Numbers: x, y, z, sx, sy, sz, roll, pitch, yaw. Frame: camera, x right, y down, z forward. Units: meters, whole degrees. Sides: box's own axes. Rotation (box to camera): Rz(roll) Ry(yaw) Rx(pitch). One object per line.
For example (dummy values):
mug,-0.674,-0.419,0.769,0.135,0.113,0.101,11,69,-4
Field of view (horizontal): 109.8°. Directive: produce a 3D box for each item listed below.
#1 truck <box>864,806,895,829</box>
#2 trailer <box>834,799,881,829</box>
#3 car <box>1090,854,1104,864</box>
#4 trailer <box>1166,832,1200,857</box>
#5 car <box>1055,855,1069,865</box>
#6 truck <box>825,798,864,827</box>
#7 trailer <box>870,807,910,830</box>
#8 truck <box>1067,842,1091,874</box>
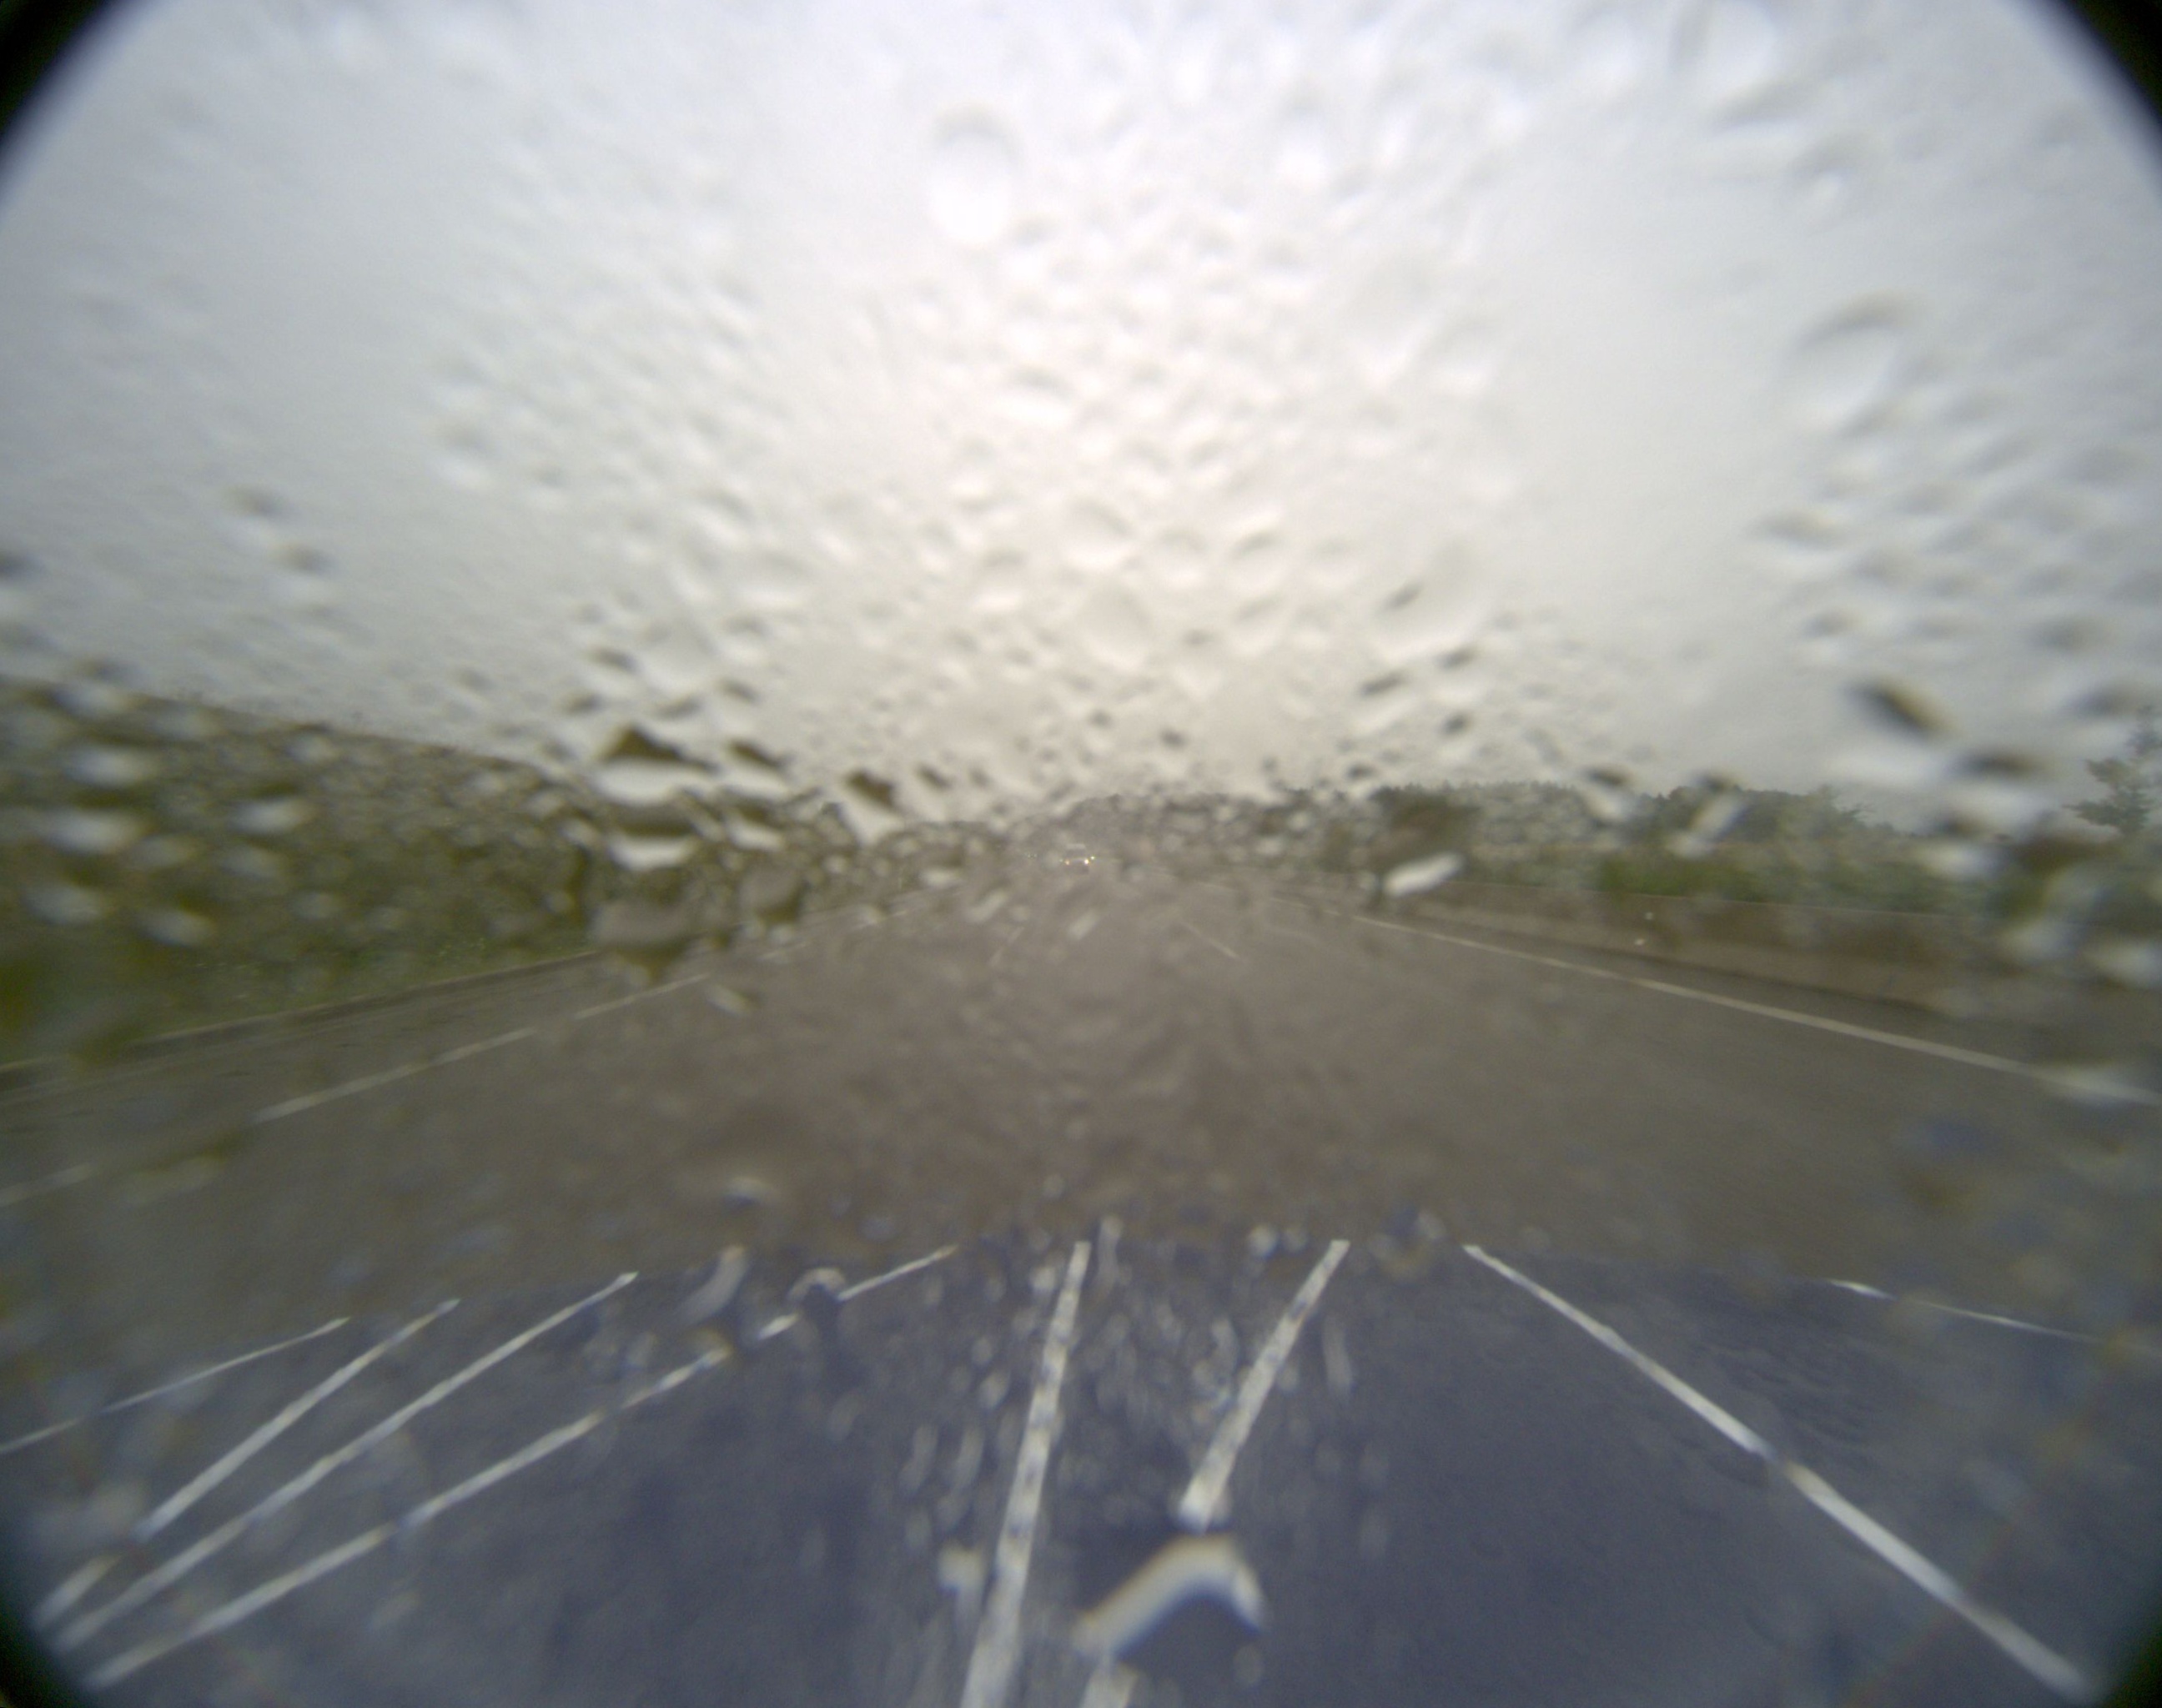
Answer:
truck,-24.690,-4.453,93.350,2.431,2.553,5.078,-2,1,-1
trailer,-24.022,-4.262,82.290,2.302,2.740,9.403,-2,1,-1
car,2.545,0.763,123.791,1.999,1.608,3.999,-1,0,-3
trailer,17.101,-1.511,128.655,3.394,3.995,13.885,-2,0,-1
car,-2.936,0.881,118.635,1.999,1.521,3.998,-1,0,-4
truck,-23.931,-4.153,77.122,2.372,2.589,5.061,-2,1,-1
trailer,-24.846,-4.529,99.535,2.388,2.589,12.959,-2,1,-2
truck,-0.232,0.276,68.200,1.999,2.699,7.998,-2,1,-1
